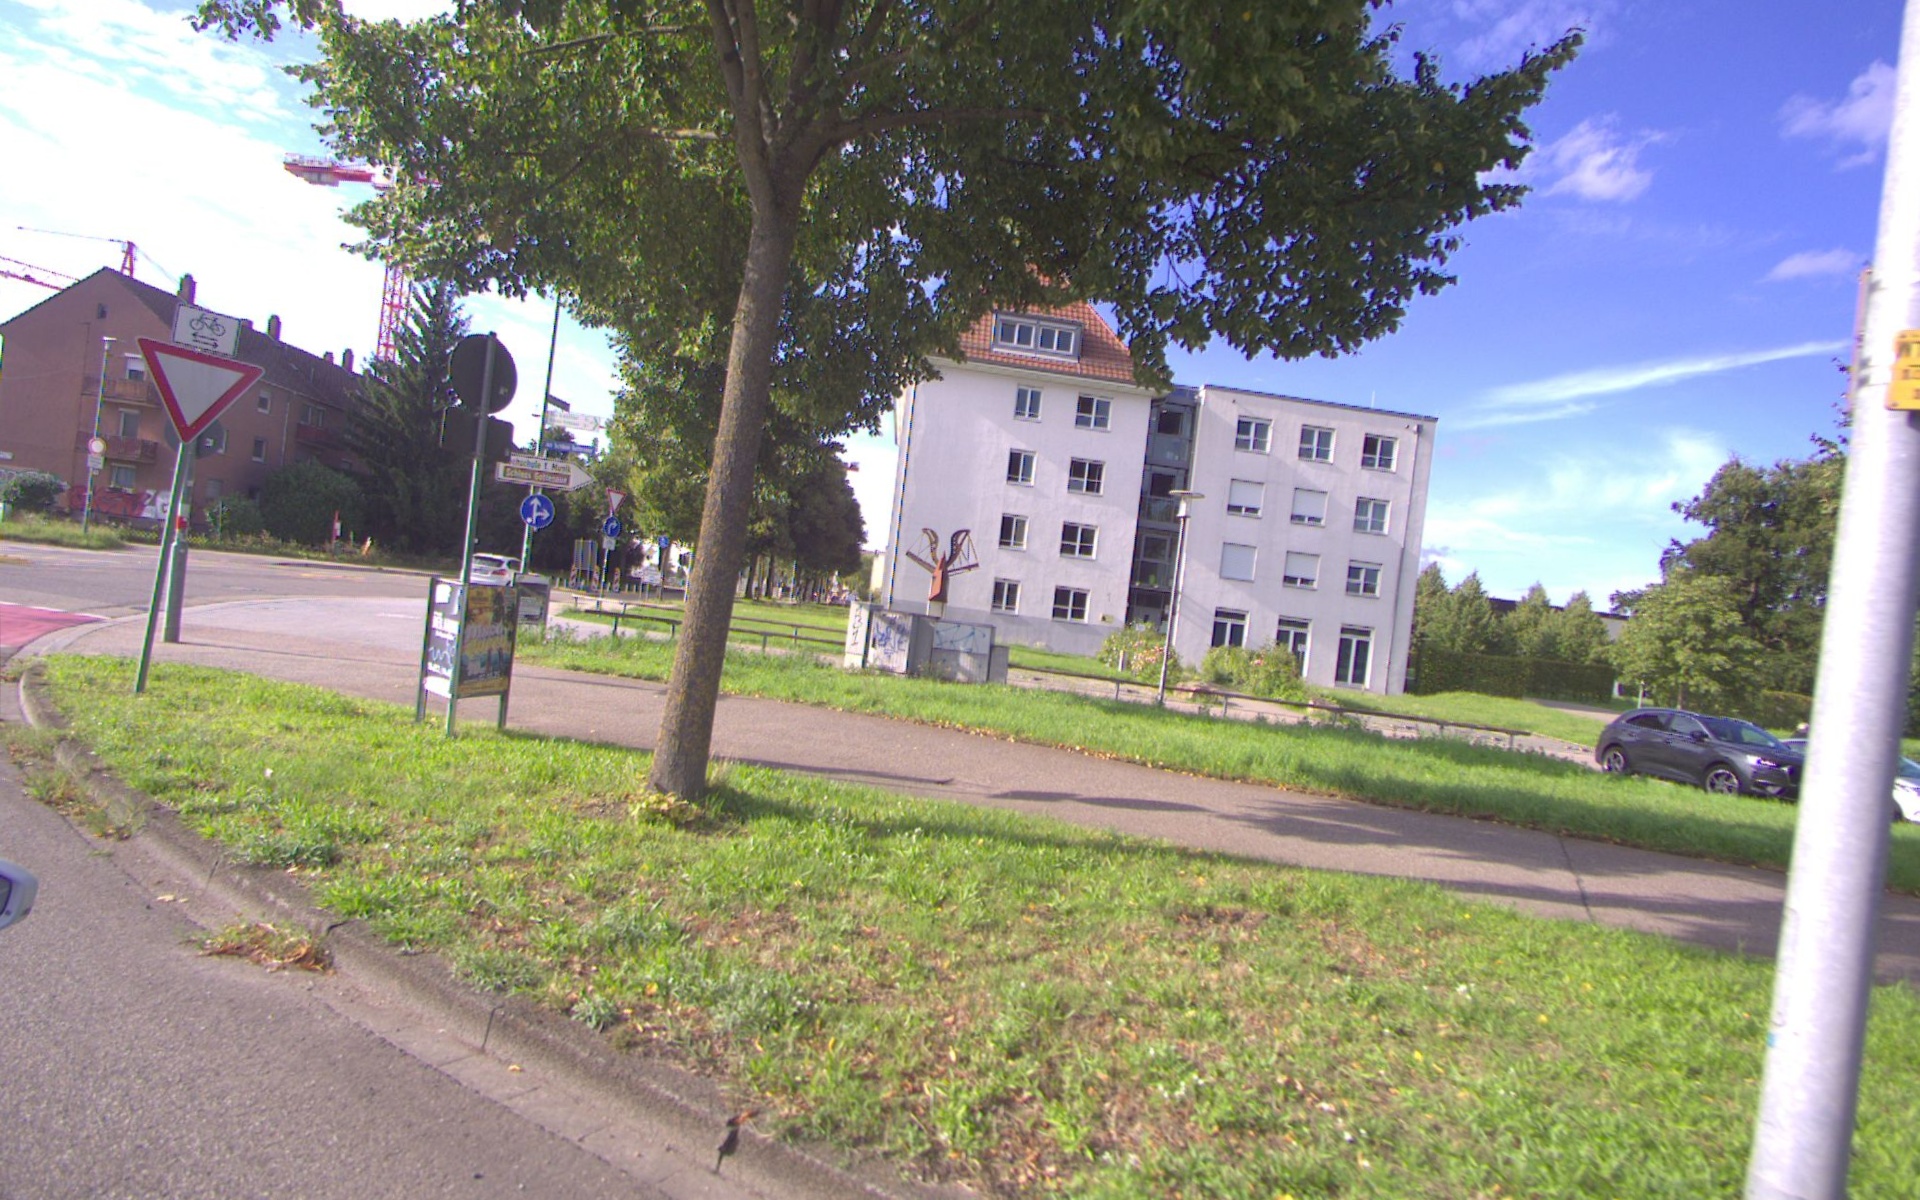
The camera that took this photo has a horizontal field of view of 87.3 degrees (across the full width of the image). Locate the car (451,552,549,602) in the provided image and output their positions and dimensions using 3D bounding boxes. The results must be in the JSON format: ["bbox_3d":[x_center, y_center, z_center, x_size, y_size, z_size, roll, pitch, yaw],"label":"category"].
[{"bbox_3d":[-18.440,-0.880,40.582,1.823,1.591,4.455,8,-1,-1],"label":"car"}]

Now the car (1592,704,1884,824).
[{"bbox_3d":[14.513,2.996,19.189,1.827,1.398,4.514,7,-1,-2],"label":"car"}]

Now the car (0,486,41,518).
[{"bbox_3d":[-58.143,-6.076,60.470,3.967,1.637,1.755,8,-1,-38],"label":"car"}]

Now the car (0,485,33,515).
[{"bbox_3d":[-62.252,-6.610,64.430,1.749,1.637,3.981,7,-1,42],"label":"car"}]

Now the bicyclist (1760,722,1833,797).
[{"bbox_3d":[20.051,3.808,24.126,0.942,1.594,0.773,6,0,5],"label":"bicyclist"}]

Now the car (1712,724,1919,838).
[{"bbox_3d":[17.387,3.503,19.489,1.827,1.457,4.733,7,-1,-2],"label":"car"}]

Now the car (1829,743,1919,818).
[{"bbox_3d":[19.863,3.790,19.438,1.827,1.222,4.733,7,-1,-2],"label":"car"}]
